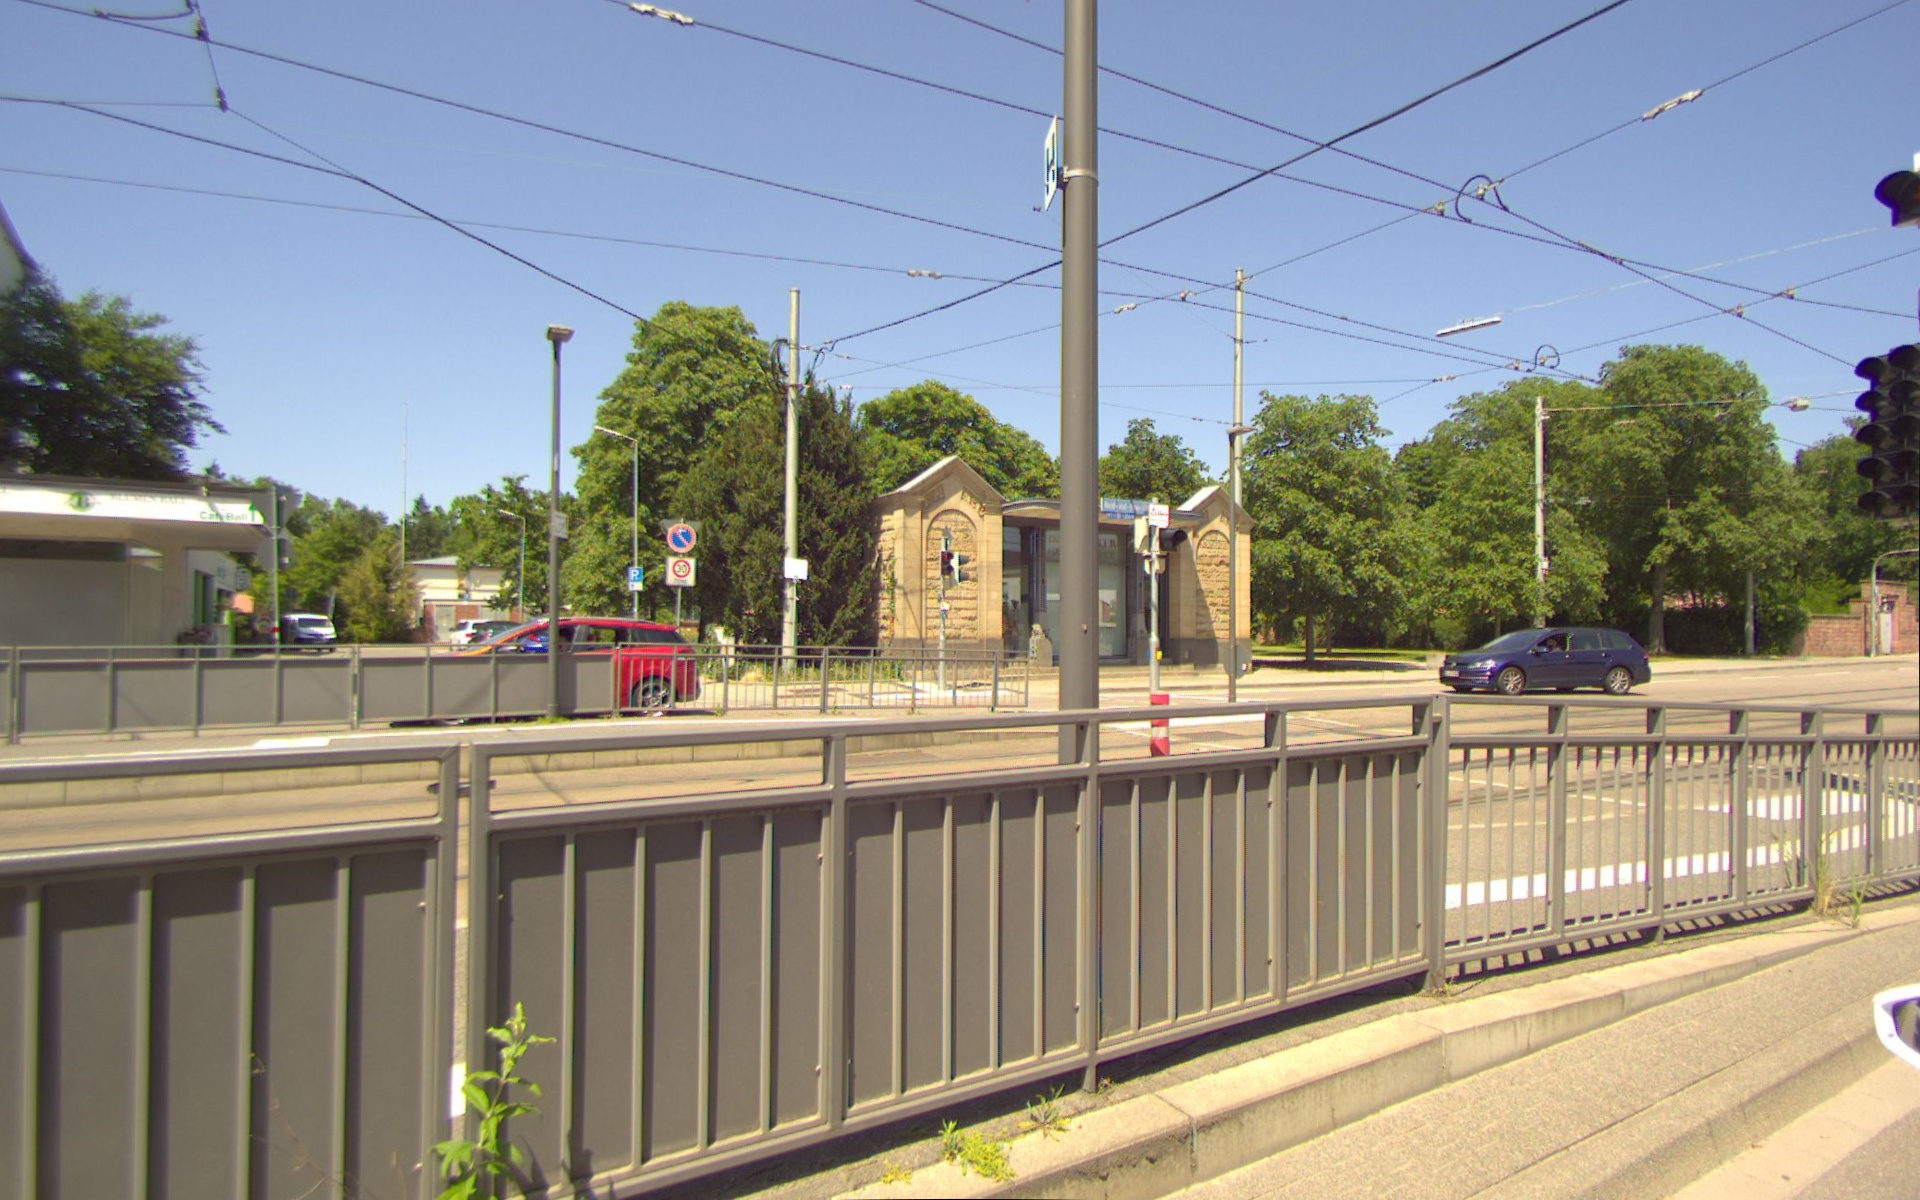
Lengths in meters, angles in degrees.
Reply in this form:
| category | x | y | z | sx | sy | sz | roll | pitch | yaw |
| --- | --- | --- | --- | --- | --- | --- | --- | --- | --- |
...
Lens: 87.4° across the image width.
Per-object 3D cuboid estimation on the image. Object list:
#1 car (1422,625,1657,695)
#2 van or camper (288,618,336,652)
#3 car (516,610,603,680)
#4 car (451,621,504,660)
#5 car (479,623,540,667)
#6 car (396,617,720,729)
| category | x | y | z | sx | sy | sz | roll | pitch | yaw |
| --- | --- | --- | --- | --- | --- | --- | --- | --- | --- |
| car | 12.913 | 1.311 | 22.505 | 4.397 | 1.461 | 1.860 | 1 | -1 | -9 |
| van or camper | -32.121 | 1.706 | 49.759 | 1.676 | 1.587 | 3.784 | 1 | -2 | -38 |
| car | -9.944 | 1.035 | 24.802 | 1.799 | 1.472 | 3.934 | 1 | 1 | -25 |
| car | -18.927 | 1.598 | 39.365 | 1.625 | 1.465 | 3.784 | 1 | -3 | -29 |
| car | -15.332 | 1.529 | 34.103 | 1.624 | 1.388 | 3.785 | 1 | -3 | -29 |
| car | -5.738 | 0.989 | 14.454 | 4.125 | 1.414 | 1.810 | 1 | -3 | -30 |
